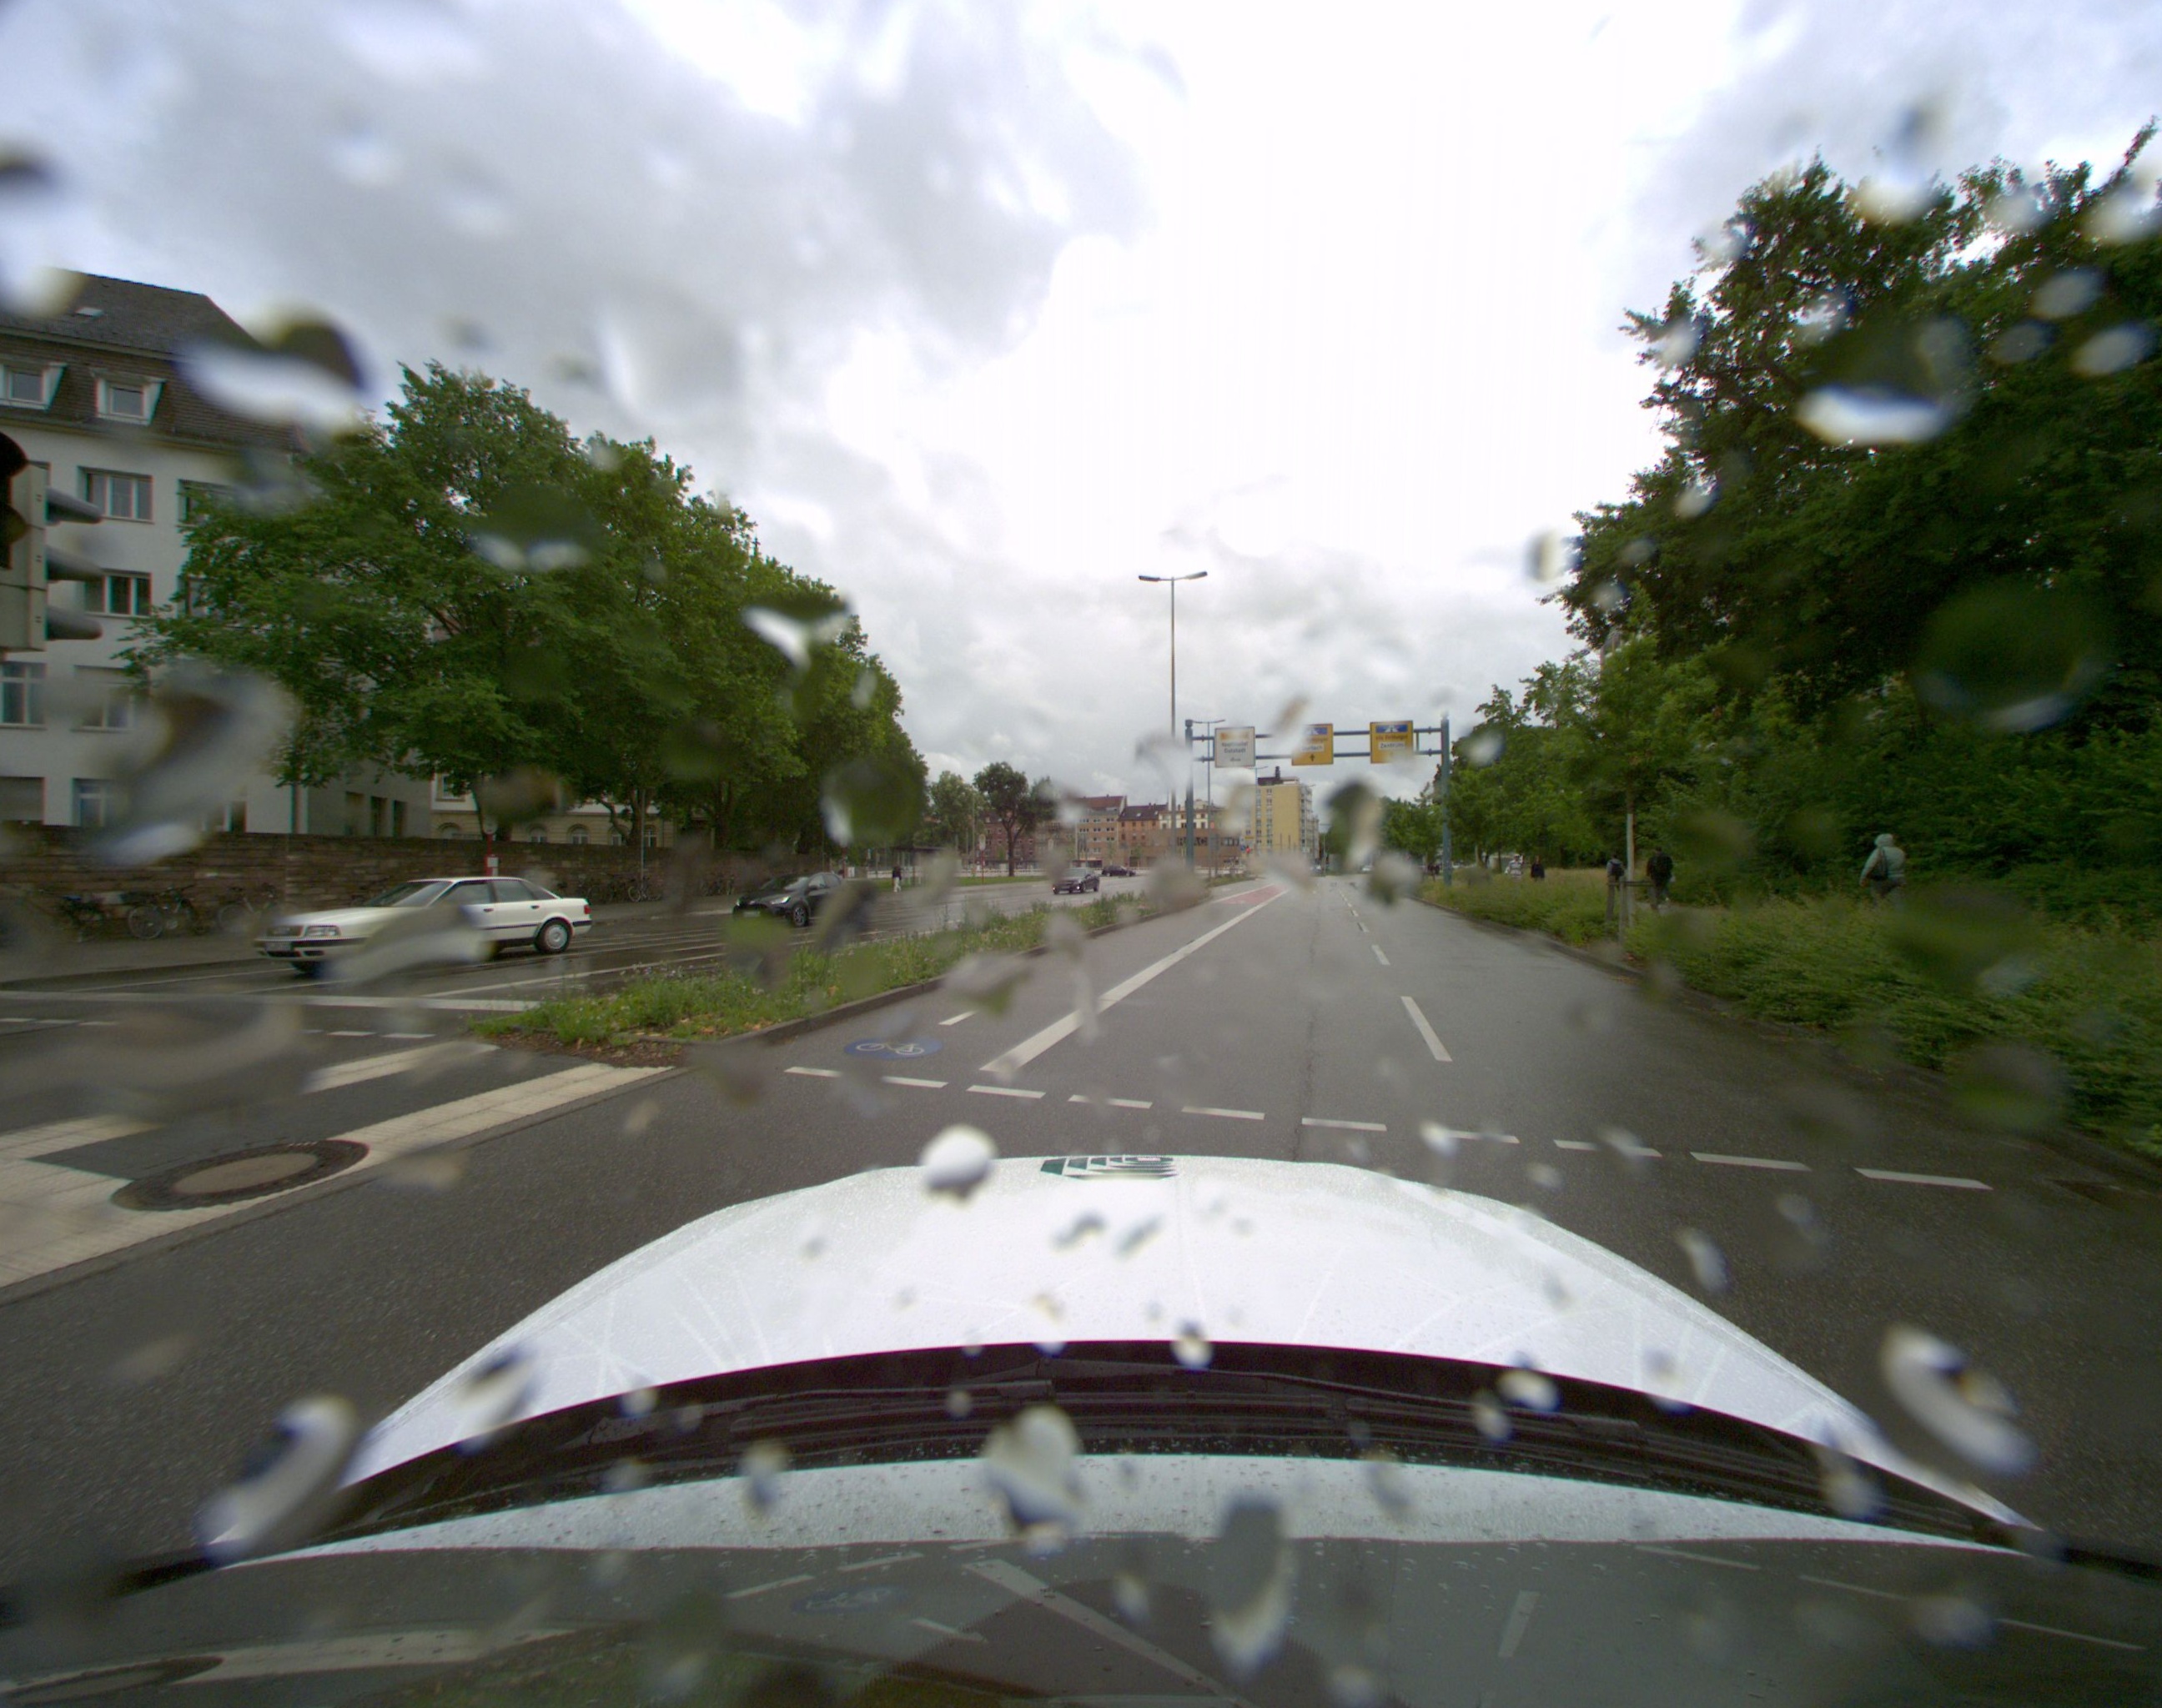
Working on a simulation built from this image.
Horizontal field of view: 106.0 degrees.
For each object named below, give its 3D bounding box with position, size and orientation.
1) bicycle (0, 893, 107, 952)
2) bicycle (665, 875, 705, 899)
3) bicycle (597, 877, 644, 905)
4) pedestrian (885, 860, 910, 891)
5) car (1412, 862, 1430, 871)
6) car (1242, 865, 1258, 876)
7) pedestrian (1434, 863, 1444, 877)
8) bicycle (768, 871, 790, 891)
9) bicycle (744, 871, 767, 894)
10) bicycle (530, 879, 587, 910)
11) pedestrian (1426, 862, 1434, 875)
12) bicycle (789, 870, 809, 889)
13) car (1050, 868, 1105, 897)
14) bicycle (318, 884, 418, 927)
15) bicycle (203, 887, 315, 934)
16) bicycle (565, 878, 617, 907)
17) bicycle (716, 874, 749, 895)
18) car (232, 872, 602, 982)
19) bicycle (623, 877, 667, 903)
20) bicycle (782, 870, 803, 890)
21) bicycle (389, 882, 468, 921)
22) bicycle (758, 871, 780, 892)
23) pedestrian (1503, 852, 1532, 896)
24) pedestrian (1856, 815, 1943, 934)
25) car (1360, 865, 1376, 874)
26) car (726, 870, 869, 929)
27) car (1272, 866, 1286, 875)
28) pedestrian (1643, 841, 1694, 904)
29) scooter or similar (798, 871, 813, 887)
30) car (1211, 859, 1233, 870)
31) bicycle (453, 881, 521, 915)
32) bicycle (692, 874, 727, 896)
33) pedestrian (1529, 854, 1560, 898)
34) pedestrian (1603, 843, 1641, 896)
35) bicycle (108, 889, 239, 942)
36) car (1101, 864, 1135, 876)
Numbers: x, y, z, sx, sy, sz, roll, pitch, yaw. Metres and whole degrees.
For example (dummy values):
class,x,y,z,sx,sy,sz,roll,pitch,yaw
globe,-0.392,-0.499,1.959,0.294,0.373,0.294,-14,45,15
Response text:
class,x,y,z,sx,sy,sz,roll,pitch,yaw
bicycle,-19.231,1.228,14.890,0.728,0.983,1.703,0,-1,4
bicycle,-16.824,1.387,34.639,0.728,0.983,1.703,0,-1,4
bicycle,-17.496,1.398,30.987,0.728,0.983,1.703,0,-1,4
pedestrian,-10.158,1.200,45.075,0.863,1.696,1.403,0,-1,9
car,61.836,2.272,148.087,1.773,1.643,4.185,-1,-1,40
car,25.933,2.518,124.955,1.690,1.706,3.841,-1,-1,23
pedestrian,40.976,1.792,93.220,1.013,1.588,0.942,-1,-1,29
bicycle,-17.600,1.556,47.511,0.571,1.136,1.991,-1,-1,0
bicycle,-17.187,1.502,43.046,0.572,1.136,1.988,-1,-1,-4
bicycle,-17.608,1.347,27.495,0.728,0.983,1.703,0,-1,4
pedestrian,41.501,1.690,96.799,0.746,1.588,0.942,-1,-1,29
bicycle,-17.950,1.631,51.822,0.571,1.136,1.991,-1,-1,0
car,-0.135,1.614,47.845,1.794,1.540,4.725,-2,-1,19
bicycle,-18.059,1.277,20.686,0.727,0.983,1.869,0,-1,9
bicycle,-18.714,1.263,18.594,0.728,0.983,1.703,0,-1,4
bicycle,-17.560,1.365,29.248,0.728,0.983,1.703,0,-1,4
bicycle,-17.054,1.496,39.887,0.728,0.983,1.703,0,-1,4
car,-10.377,1.049,13.270,1.584,1.415,4.543,-2,-1,16
bicycle,-17.300,1.411,32.331,0.728,0.983,1.703,0,-1,4
bicycle,-17.627,1.581,49.788,0.571,1.136,1.991,-1,-1,0
bicycle,-18.053,1.298,22.581,0.728,0.983,1.703,0,-1,4
bicycle,-17.396,1.531,45.451,0.572,1.136,1.988,-1,-1,-4
pedestrian,17.709,0.811,33.074,0.925,1.720,0.833,1,2,20
pedestrian,14.374,0.361,14.335,0.783,2.014,0.833,-1,-1,21
car,54.883,2.931,155.764,1.663,1.501,3.892,-2,-1,39
car,-7.651,1.194,22.424,1.611,1.415,4.083,-2,-1,16
car,29.981,2.490,123.208,1.666,1.404,4.176,-2,-1,17
pedestrian,16.736,0.529,23.223,0.925,1.747,1.051,-1,-1,21
scooter or similar,-18.012,1.625,53.270,0.570,1.047,1.362,0,-1,-1
car,37.352,2.703,214.982,5.304,2.887,2.351,-1,-1,21
bicycle,-18.027,1.322,24.753,0.728,0.983,1.703,0,-1,4
bicycle,-17.195,1.434,37.778,0.728,0.983,1.703,0,-1,4
pedestrian,18.480,0.874,32.498,0.925,1.703,0.833,1,2,20
pedestrian,18.573,0.530,27.981,0.925,1.797,0.833,-1,-1,21
bicycle,-18.721,1.244,16.857,0.728,0.983,1.703,0,-1,4
car,4.728,2.041,103.736,4.163,1.402,1.623,0,-1,12
